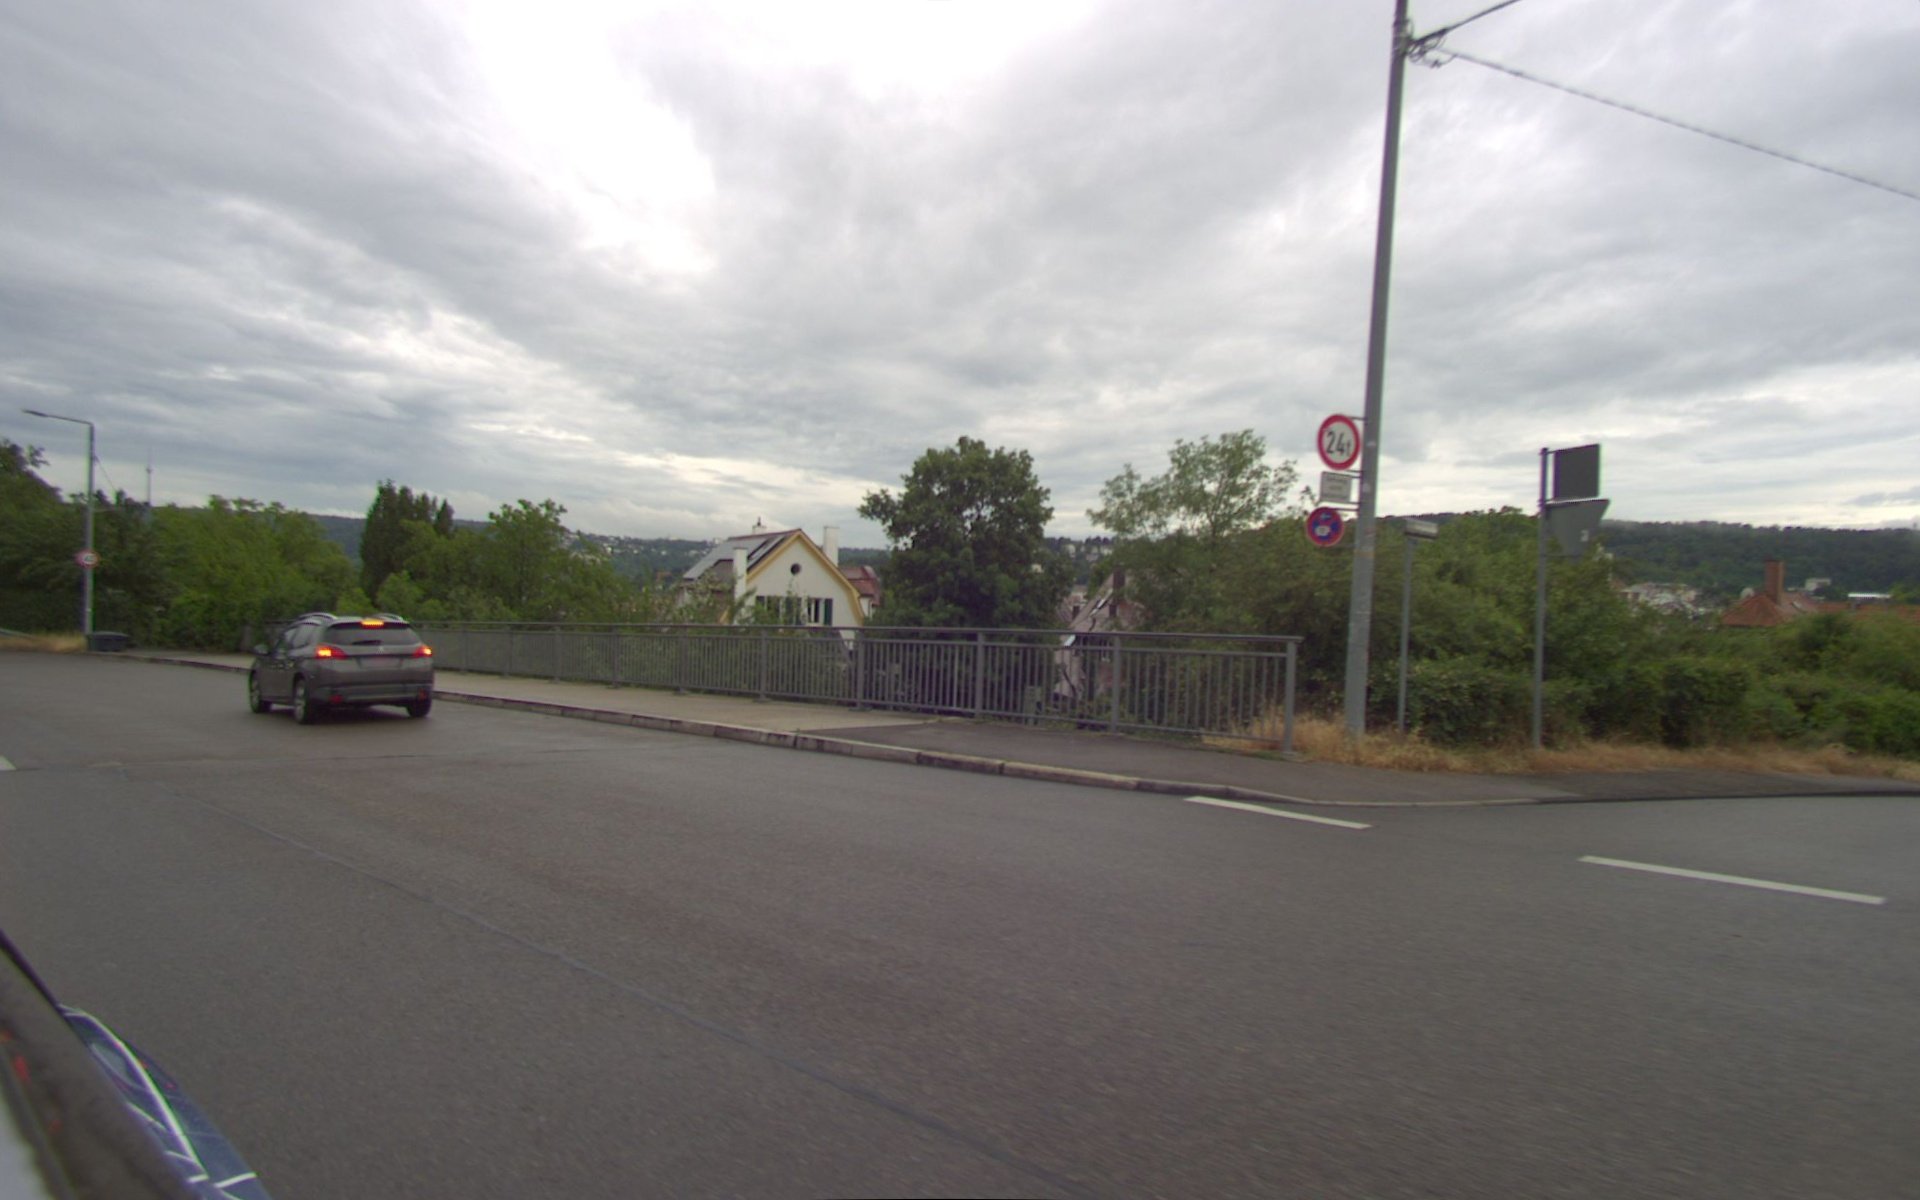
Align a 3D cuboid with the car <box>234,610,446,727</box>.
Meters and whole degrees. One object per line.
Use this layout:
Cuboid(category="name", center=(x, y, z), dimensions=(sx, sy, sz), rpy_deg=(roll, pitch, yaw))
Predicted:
Cuboid(category="car", center=(-9.564, 0.966, 15.500), dimensions=(4.000, 1.557, 1.715), rpy_deg=(-1, -3, 43))
